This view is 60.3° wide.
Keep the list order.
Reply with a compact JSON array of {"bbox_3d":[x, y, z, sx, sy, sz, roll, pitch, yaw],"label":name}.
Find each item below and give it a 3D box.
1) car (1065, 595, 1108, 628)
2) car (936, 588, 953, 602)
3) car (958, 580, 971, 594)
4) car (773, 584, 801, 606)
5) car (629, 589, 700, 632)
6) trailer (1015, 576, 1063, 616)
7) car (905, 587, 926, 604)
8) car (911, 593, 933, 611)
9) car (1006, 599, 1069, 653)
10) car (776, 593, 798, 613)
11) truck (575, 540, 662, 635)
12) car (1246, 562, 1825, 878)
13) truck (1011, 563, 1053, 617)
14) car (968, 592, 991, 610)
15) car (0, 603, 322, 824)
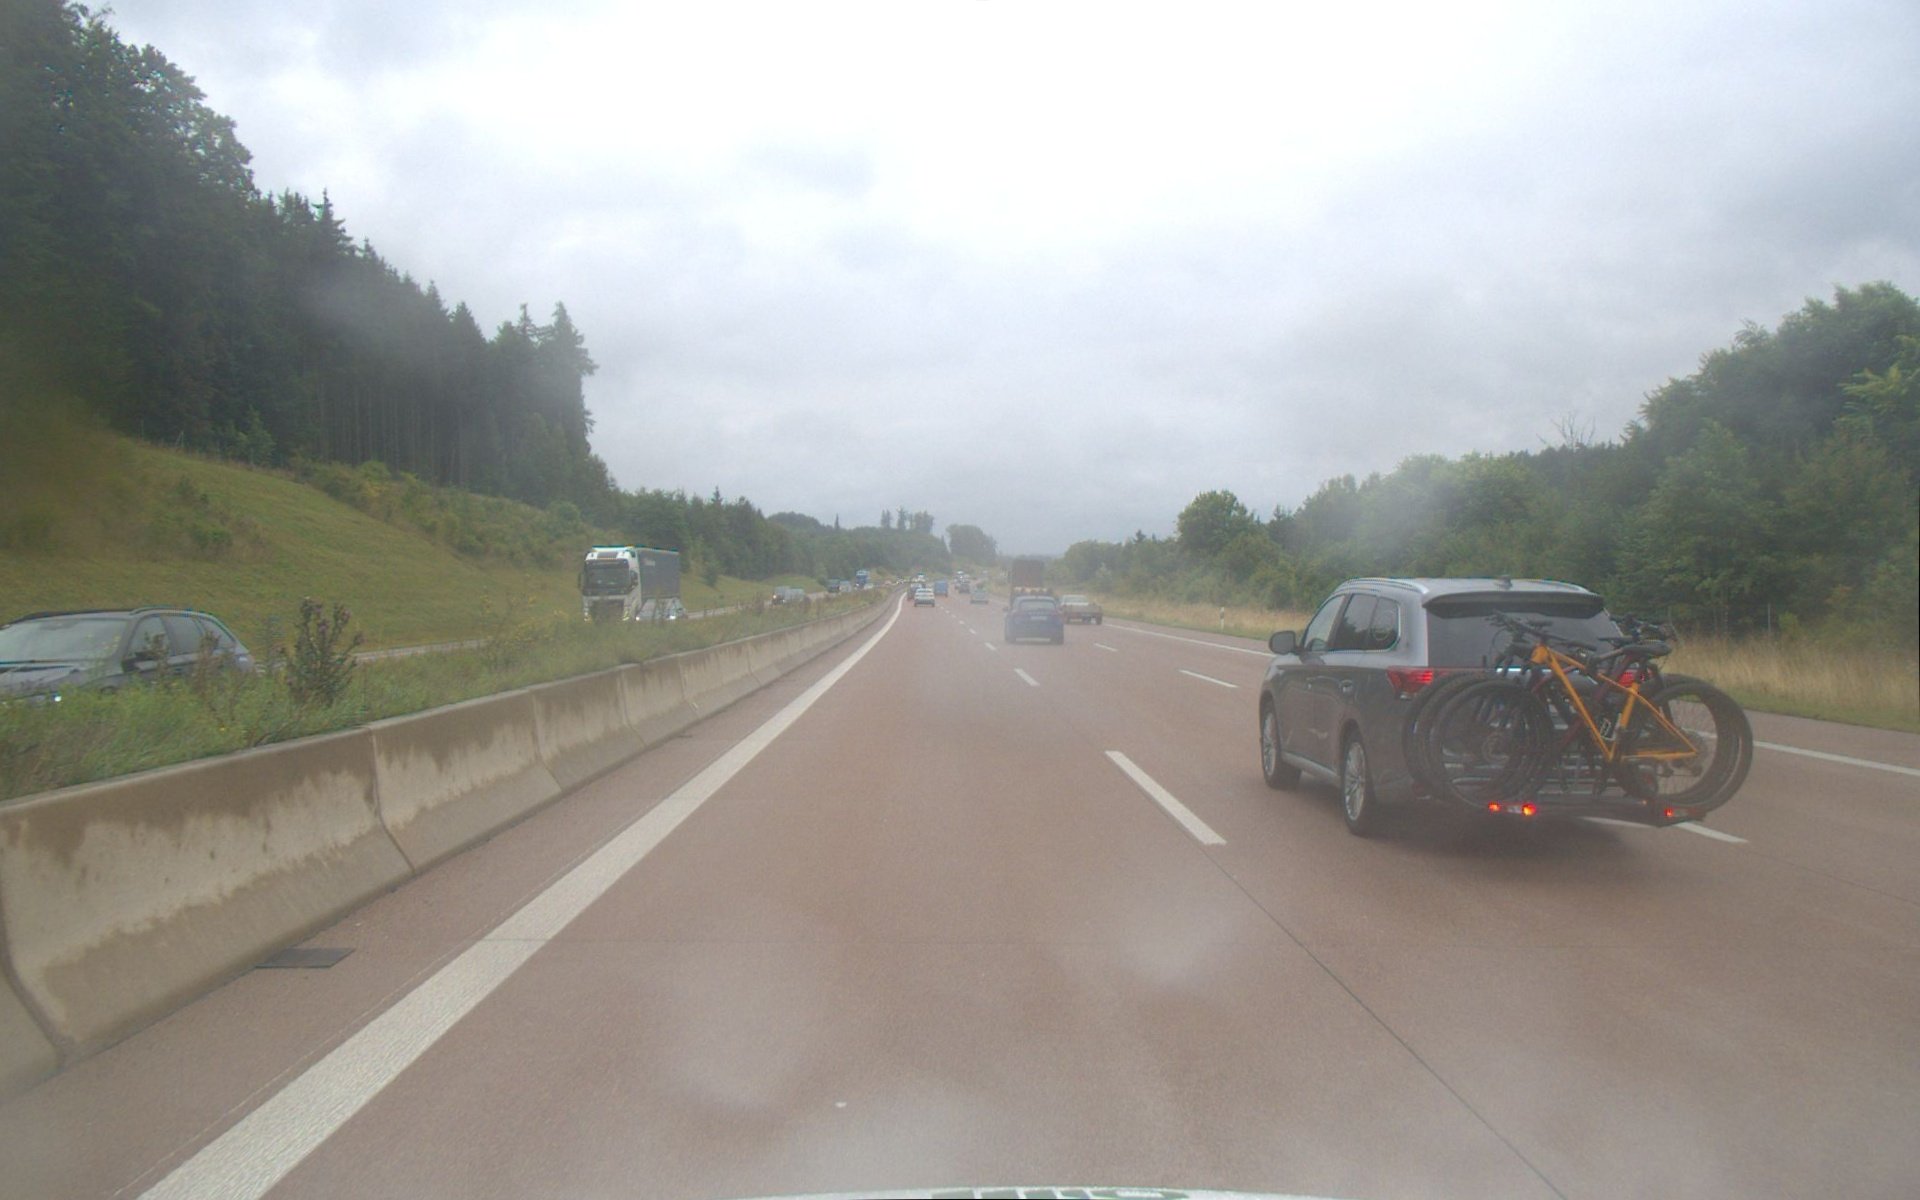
[{"bbox_3d":[6.450,0.573,84.774,1.663,1.640,4.975,0,0,-1],"label":"car"},{"bbox_3d":[-2.081,-0.688,220.684,2.275,1.780,4.876,1,0,-1],"label":"car"},{"bbox_3d":[0.763,-2.005,259.578,1.953,2.049,3.999,1,0,-1],"label":"car"},{"bbox_3d":[-14.596,-0.474,139.817,1.953,1.798,5.094,0,1,-1],"label":"car"},{"bbox_3d":[-12.686,0.441,71.333,2.007,1.722,6.382,1,0,-1],"label":"car"},{"bbox_3d":[5.655,-0.261,120.507,2.822,2.722,11.396,1,0,-1],"label":"trailer"},{"bbox_3d":[-4.907,-0.444,182.742,2.275,1.780,4.876,1,0,-1],"label":"car"},{"bbox_3d":[-3.273,0.177,144.738,1.836,1.469,4.876,1,0,-1],"label":"car"},{"bbox_3d":[2.416,0.798,52.305,1.735,1.591,4.146,1,0,-1],"label":"car"},{"bbox_3d":[-18.495,0.335,177.229,1.953,2.049,5.672,1,0,-2],"label":"car"},{"bbox_3d":[-16.982,-0.575,82.650,2.865,4.467,7.401,1,0,-1],"label":"truck"},{"bbox_3d":[3.509,0.642,11.535,1.953,1.620,5.819,1,0,-1],"label":"car"},{"bbox_3d":[5.534,-0.759,127.910,2.838,4.034,6.987,1,0,-1],"label":"truck"},{"bbox_3d":[1.954,0.109,168.032,2.275,1.780,4.876,1,0,-1],"label":"car"},{"bbox_3d":[-8.306,0.947,16.322,2.007,1.807,5.323,1,0,-1],"label":"car"}]
